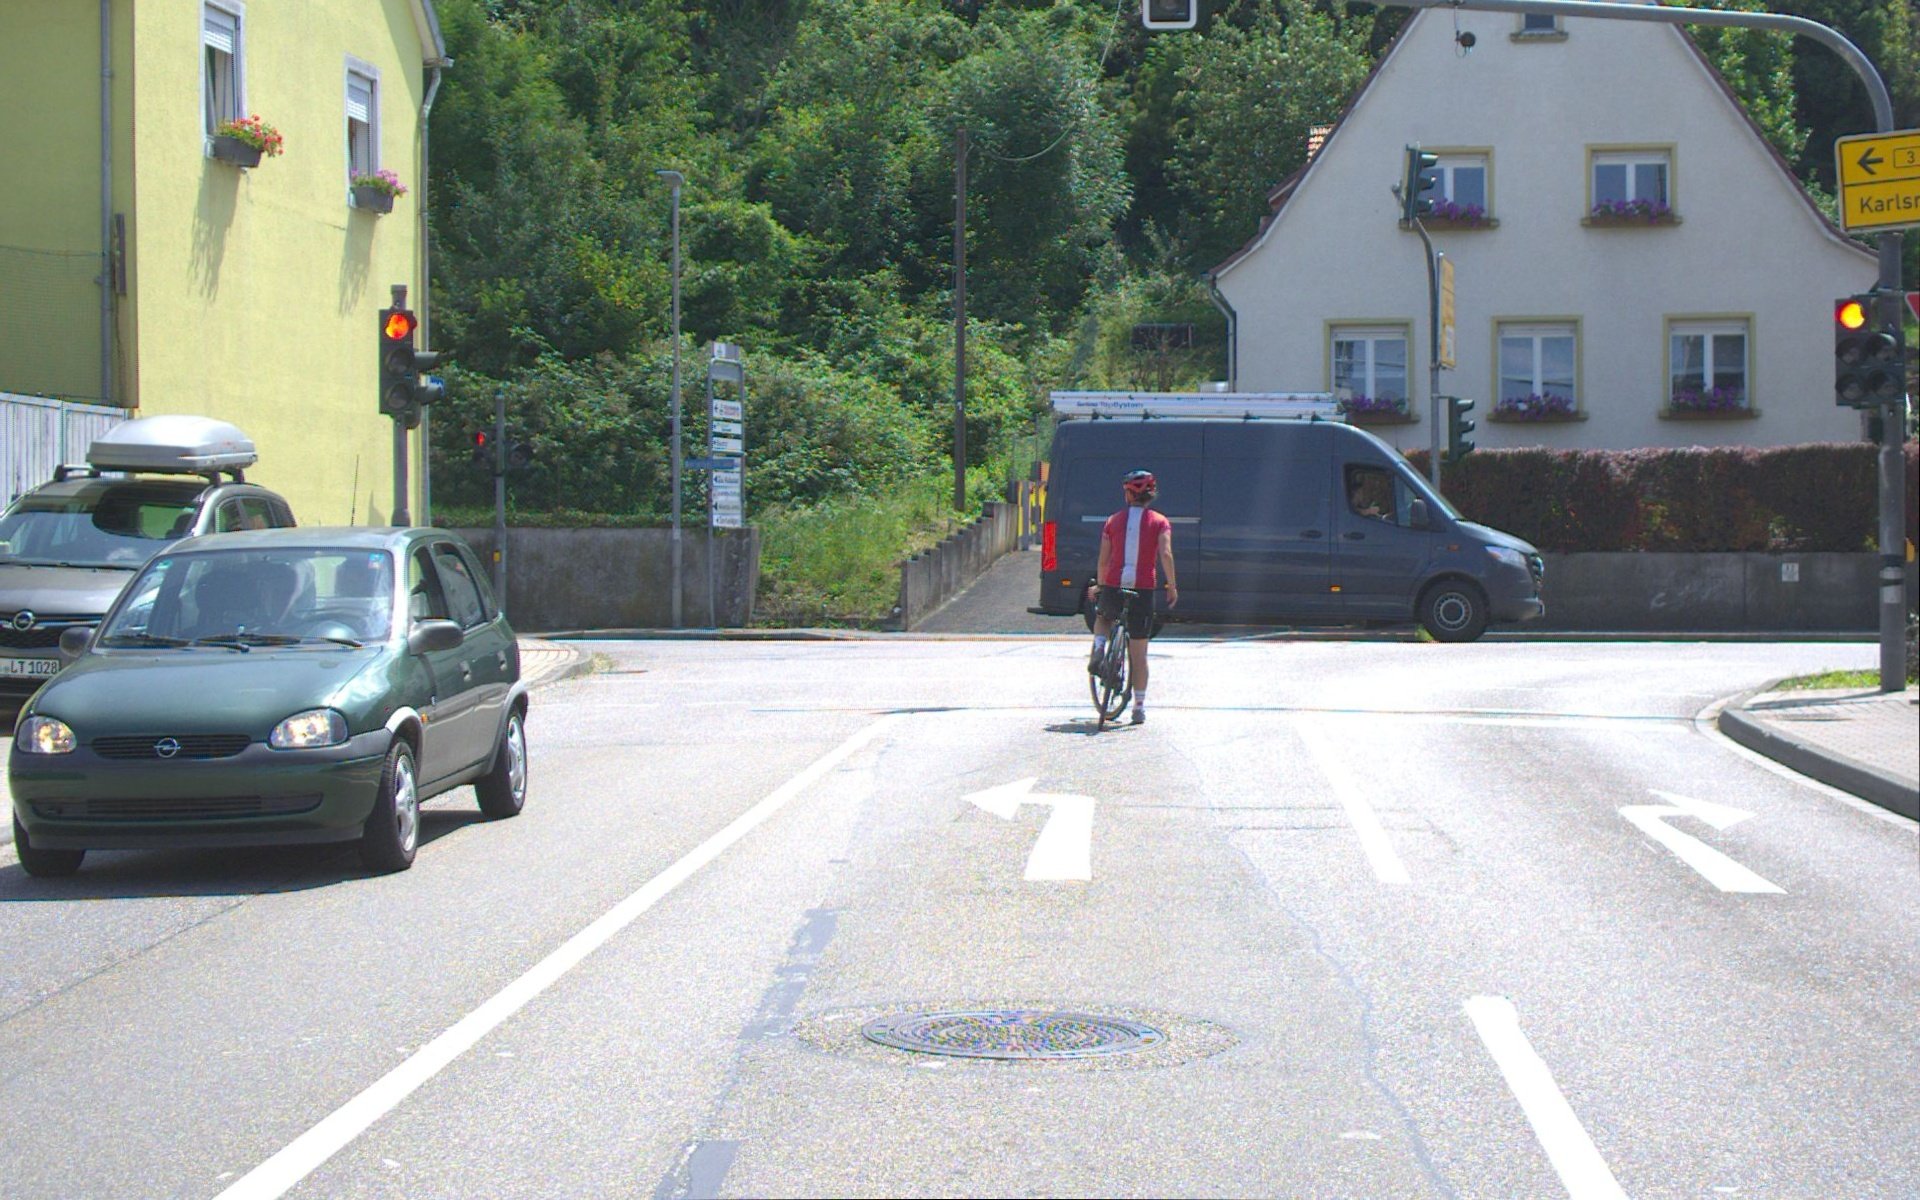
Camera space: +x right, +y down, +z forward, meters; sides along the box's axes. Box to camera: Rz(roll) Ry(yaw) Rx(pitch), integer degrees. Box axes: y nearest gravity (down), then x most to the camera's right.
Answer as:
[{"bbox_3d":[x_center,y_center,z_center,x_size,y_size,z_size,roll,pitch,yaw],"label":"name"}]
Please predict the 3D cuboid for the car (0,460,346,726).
[{"bbox_3d":[-5.797,-0.116,23.772,1.994,1.630,4.630,2,2,3],"label":"car"}]

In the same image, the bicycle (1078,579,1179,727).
[{"bbox_3d":[1.123,0.336,22.923,0.630,0.902,1.657,1,1,3],"label":"bicycle"}]

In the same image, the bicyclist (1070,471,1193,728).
[{"bbox_3d":[1.138,-0.013,22.849,0.761,1.659,0.869,1,1,3],"label":"bicyclist"}]

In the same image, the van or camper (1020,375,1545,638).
[{"bbox_3d":[3.869,-1.103,40.845,5.995,2.994,2.217,0,1,11],"label":"van or camper"}]

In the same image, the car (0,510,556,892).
[{"bbox_3d":[-3.037,0.343,15.078,1.780,1.428,3.872,-1,1,4],"label":"car"}]
